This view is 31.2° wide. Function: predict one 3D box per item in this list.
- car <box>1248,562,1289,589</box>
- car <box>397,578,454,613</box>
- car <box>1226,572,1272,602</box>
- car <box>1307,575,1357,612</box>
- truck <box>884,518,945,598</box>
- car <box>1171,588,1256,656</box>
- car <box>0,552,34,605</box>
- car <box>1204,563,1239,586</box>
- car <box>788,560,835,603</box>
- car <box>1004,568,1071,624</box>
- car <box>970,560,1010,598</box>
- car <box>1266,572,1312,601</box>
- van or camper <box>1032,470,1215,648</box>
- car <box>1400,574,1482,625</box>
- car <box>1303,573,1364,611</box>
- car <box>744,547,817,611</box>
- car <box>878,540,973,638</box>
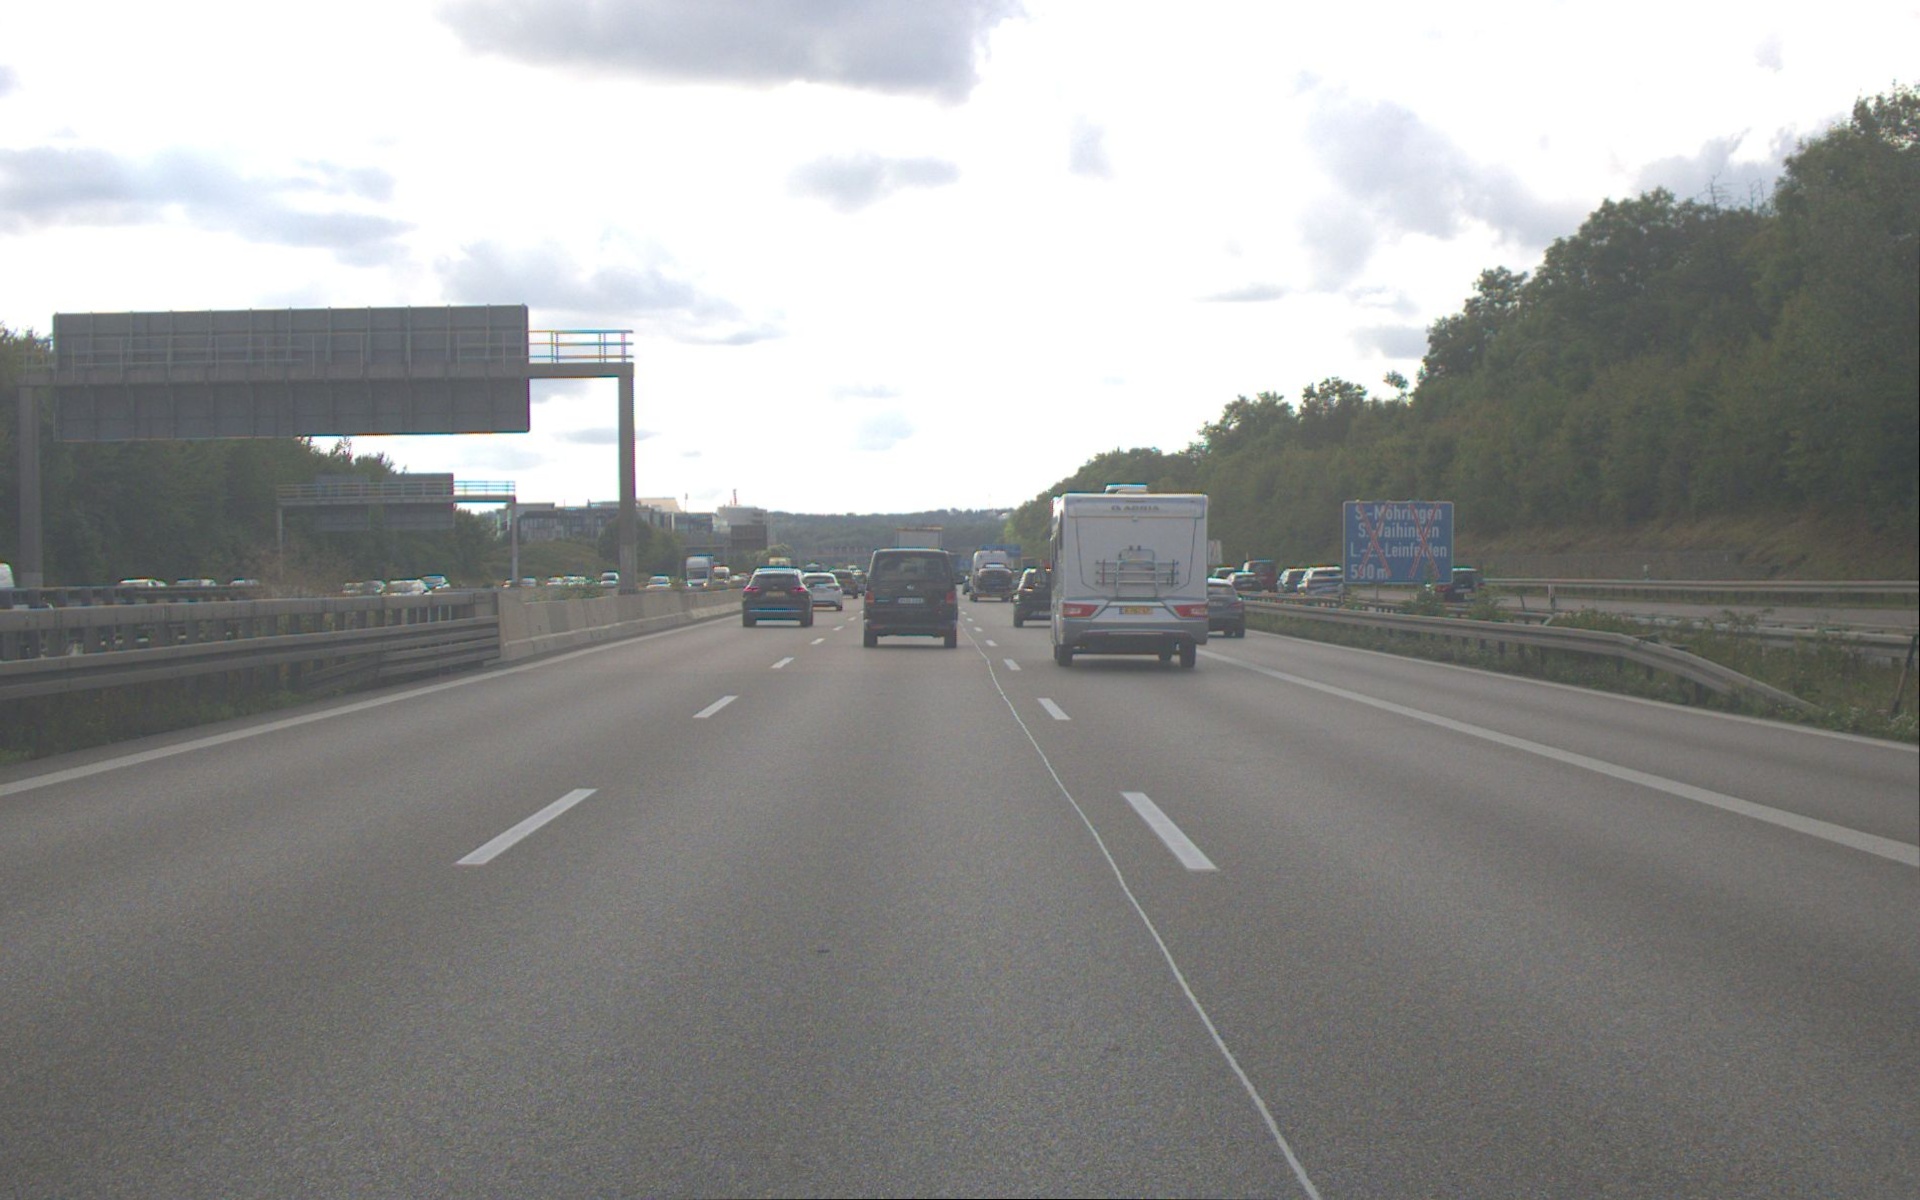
[{"bbox_3d":[18.469,-1.469,205.710,1.843,1.479,4.526,-2,1,-2],"label":"car"},{"bbox_3d":[-21.204,-0.188,136.454,1.642,1.310,4.248,-1,1,-1],"label":"car"},{"bbox_3d":[15.076,-0.696,179.431,1.843,1.479,4.526,-2,1,-2],"label":"car"},{"bbox_3d":[15.479,-0.280,143.247,1.541,1.479,3.942,-2,1,-1],"label":"car"},{"bbox_3d":[-2.587,-2.368,194.936,3.263,4.360,11.026,1,1,-1],"label":"truck"},{"bbox_3d":[6.187,0.517,84.178,1.697,1.605,3.896,0,0,-2],"label":"car"},{"bbox_3d":[-42.827,-0.937,152.269,1.993,2.307,5.684,-1,1,1],"label":"car"},{"bbox_3d":[17.752,-1.736,233.336,1.843,1.479,4.526,-2,1,-2],"label":"car"},{"bbox_3d":[-5.532,-0.698,128.463,1.697,1.605,4.114,0,0,-2],"label":"car"},{"bbox_3d":[2.175,-0.134,97.178,1.697,1.559,4.114,0,0,-2],"label":"car"},{"bbox_3d":[1.520,-1.065,176.187,1.913,1.912,4.030,0,1,-1],"label":"car"},{"bbox_3d":[18.075,-0.738,189.042,1.843,1.479,4.526,-2,1,-2],"label":"car"},{"bbox_3d":[2.593,-0.669,56.626,2.468,2.712,7.662,1,1,-1],"label":"van or camper"},{"bbox_3d":[15.177,-0.039,108.634,1.843,1.479,4.526,-2,1,-1],"label":"car"},{"bbox_3d":[15.589,-0.357,143.620,1.843,1.479,4.526,-2,1,-2],"label":"car"},{"bbox_3d":[-4.906,-0.575,94.313,1.873,1.692,4.072,0,0,-1],"label":"car"},{"bbox_3d":[-0.706,-0.241,69.481,1.855,1.904,4.260,0,1,-1],"label":"car"}]
